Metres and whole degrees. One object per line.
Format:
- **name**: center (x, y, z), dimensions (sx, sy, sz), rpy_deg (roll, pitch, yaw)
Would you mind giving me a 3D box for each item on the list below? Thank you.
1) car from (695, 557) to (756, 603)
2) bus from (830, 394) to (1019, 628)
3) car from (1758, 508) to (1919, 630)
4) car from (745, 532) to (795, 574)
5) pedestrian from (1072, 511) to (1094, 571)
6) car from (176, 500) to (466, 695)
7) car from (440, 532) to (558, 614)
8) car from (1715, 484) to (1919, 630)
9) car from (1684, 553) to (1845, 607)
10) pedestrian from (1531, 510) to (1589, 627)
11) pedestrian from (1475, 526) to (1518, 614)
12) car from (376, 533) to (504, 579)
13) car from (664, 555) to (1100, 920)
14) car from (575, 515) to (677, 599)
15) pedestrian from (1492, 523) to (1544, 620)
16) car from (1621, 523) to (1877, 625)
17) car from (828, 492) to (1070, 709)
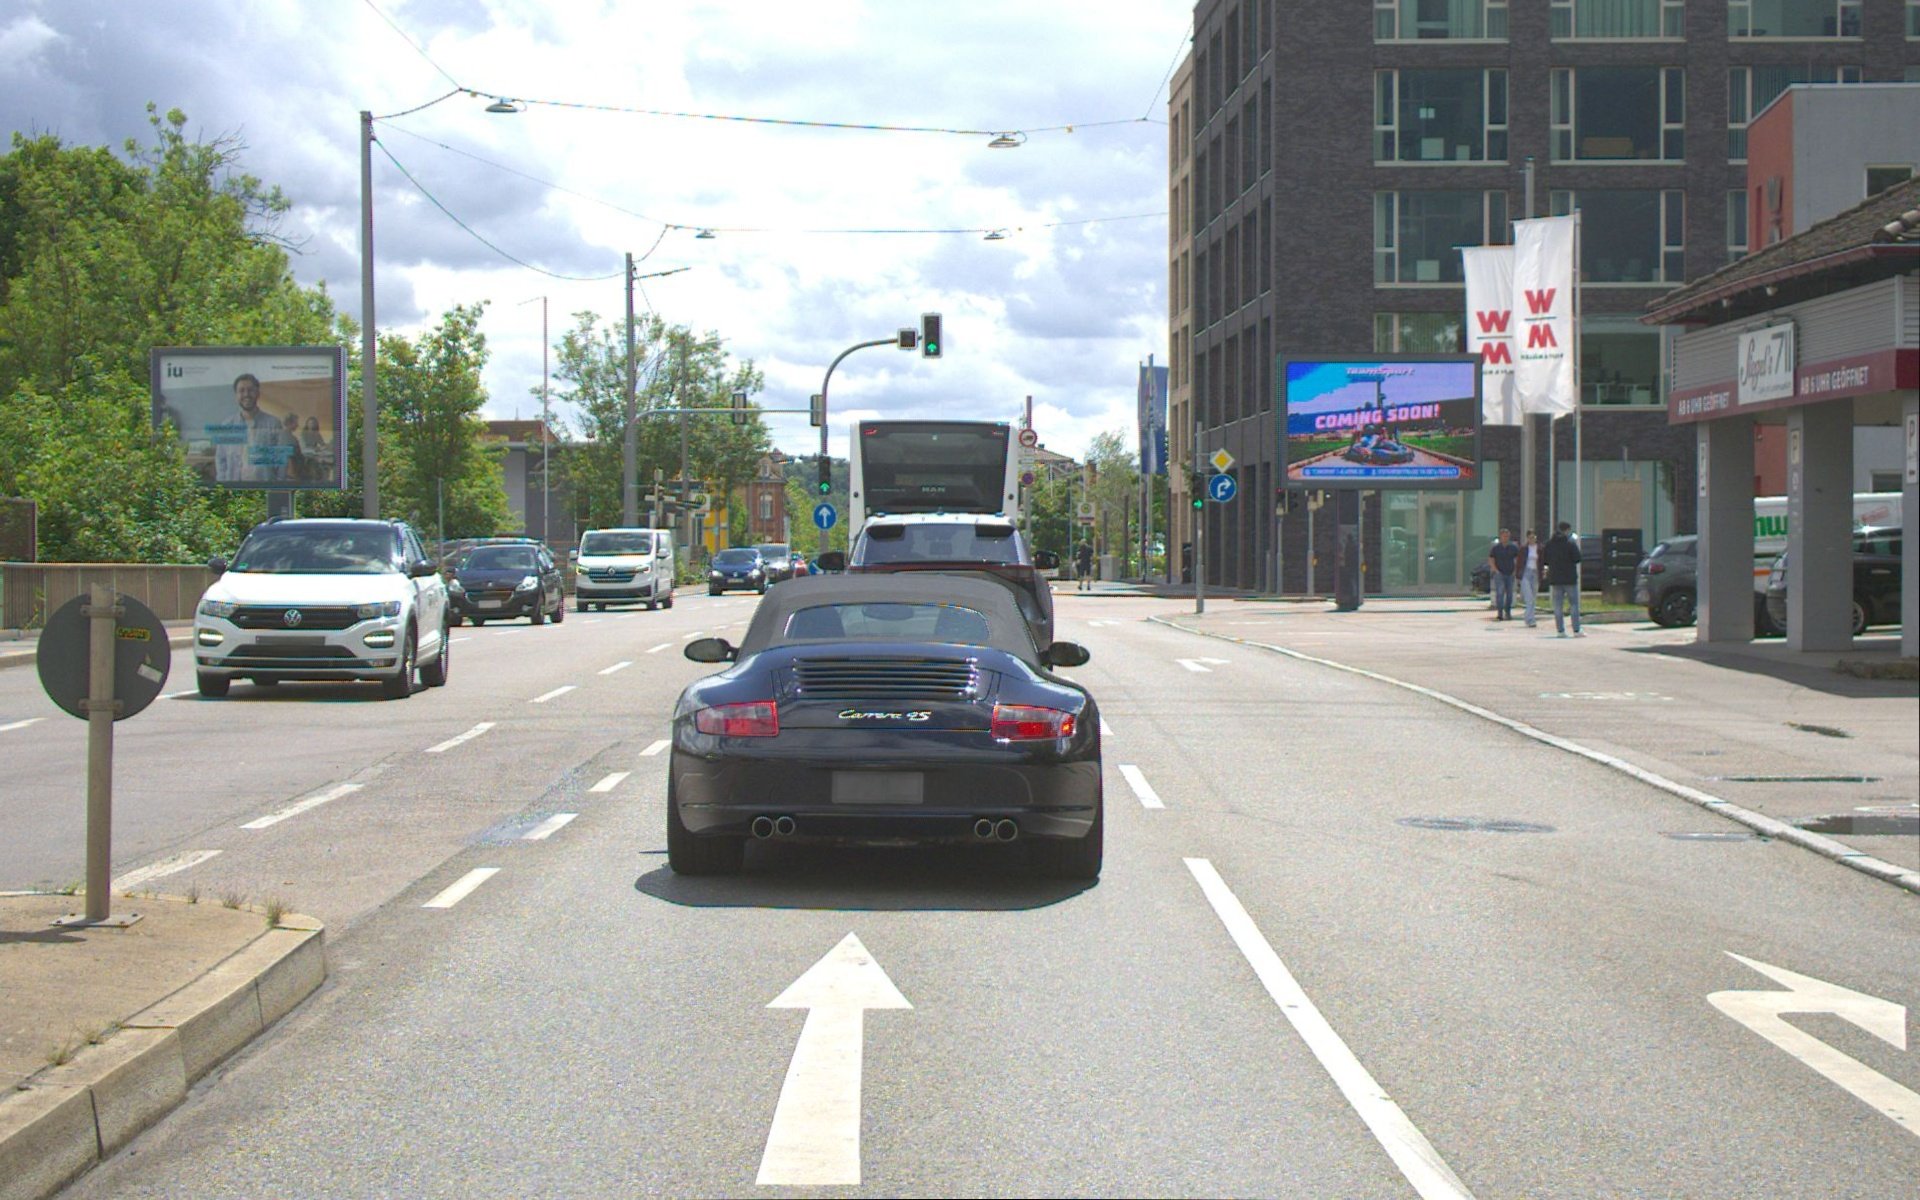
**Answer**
- **car**: center (-7.364, -0.642, 108.225), dimensions (1.662, 1.411, 3.803), rpy_deg (0, 1, 0)
- **bus**: center (-0.477, -1.672, 56.749), dimensions (2.689, 3.244, 12.060), rpy_deg (2, 4, 0)
- **car**: center (12.944, -0.454, 45.466), dimensions (4.300, 1.508, 1.846), rpy_deg (-2, 0, 0)
- **car**: center (-7.048, -1.759, 127.758), dimensions (1.662, 1.542, 3.803), rpy_deg (0, 1, 0)
- **pedestrian**: center (4.092, -1.968, 114.609), dimensions (0.666, 2.007, 0.769), rpy_deg (0, 1, -2)
- **car**: center (-5.492, -0.058, 30.024), dimensions (1.810, 1.555, 4.208), rpy_deg (1, 1, -1)
- **car**: center (-8.337, -0.496, 62.412), dimensions (1.628, 1.425, 4.000), rpy_deg (0, 1, 0)
- **car**: center (13.010, -0.642, 48.509), dimensions (4.230, 1.930, 2.029), rpy_deg (-2, 1, 1)
- **car**: center (21.393, -0.541, 91.447), dimensions (3.929, 1.426, 1.474), rpy_deg (0, 1, 0)
- **pedestrian**: center (8.794, -0.466, 50.380), dimensions (0.681, 1.690, 0.597), rpy_deg (1, 1, 25)
- **pedestrian**: center (10.167, -0.565, 65.133), dimensions (0.670, 1.655, 0.742), rpy_deg (0, 1, -2)
- **car**: center (-14.592, -1.228, 96.392), dimensions (3.511, 1.259, 1.390), rpy_deg (0, 1, -9)
- **car**: center (-0.353, 0.526, 15.802), dimensions (1.719, 1.270, 4.089), rpy_deg (1, 3, -1)
- **car**: center (-7.924, -1.016, 81.883), dimensions (1.901, 1.880, 5.313), rpy_deg (-2, 1, 0)
- **pedestrian**: center (9.838, -0.504, 60.596), dimensions (0.707, 1.690, 0.924), rpy_deg (0, 1, -3)
- **car**: center (12.954, -0.435, 56.611), dimensions (3.759, 1.436, 1.719), rpy_deg (-3, 1, 1)
- **car**: center (-0.152, -0.062, 29.450), dimensions (1.879, 1.588, 4.230), rpy_deg (2, 3, -2)
